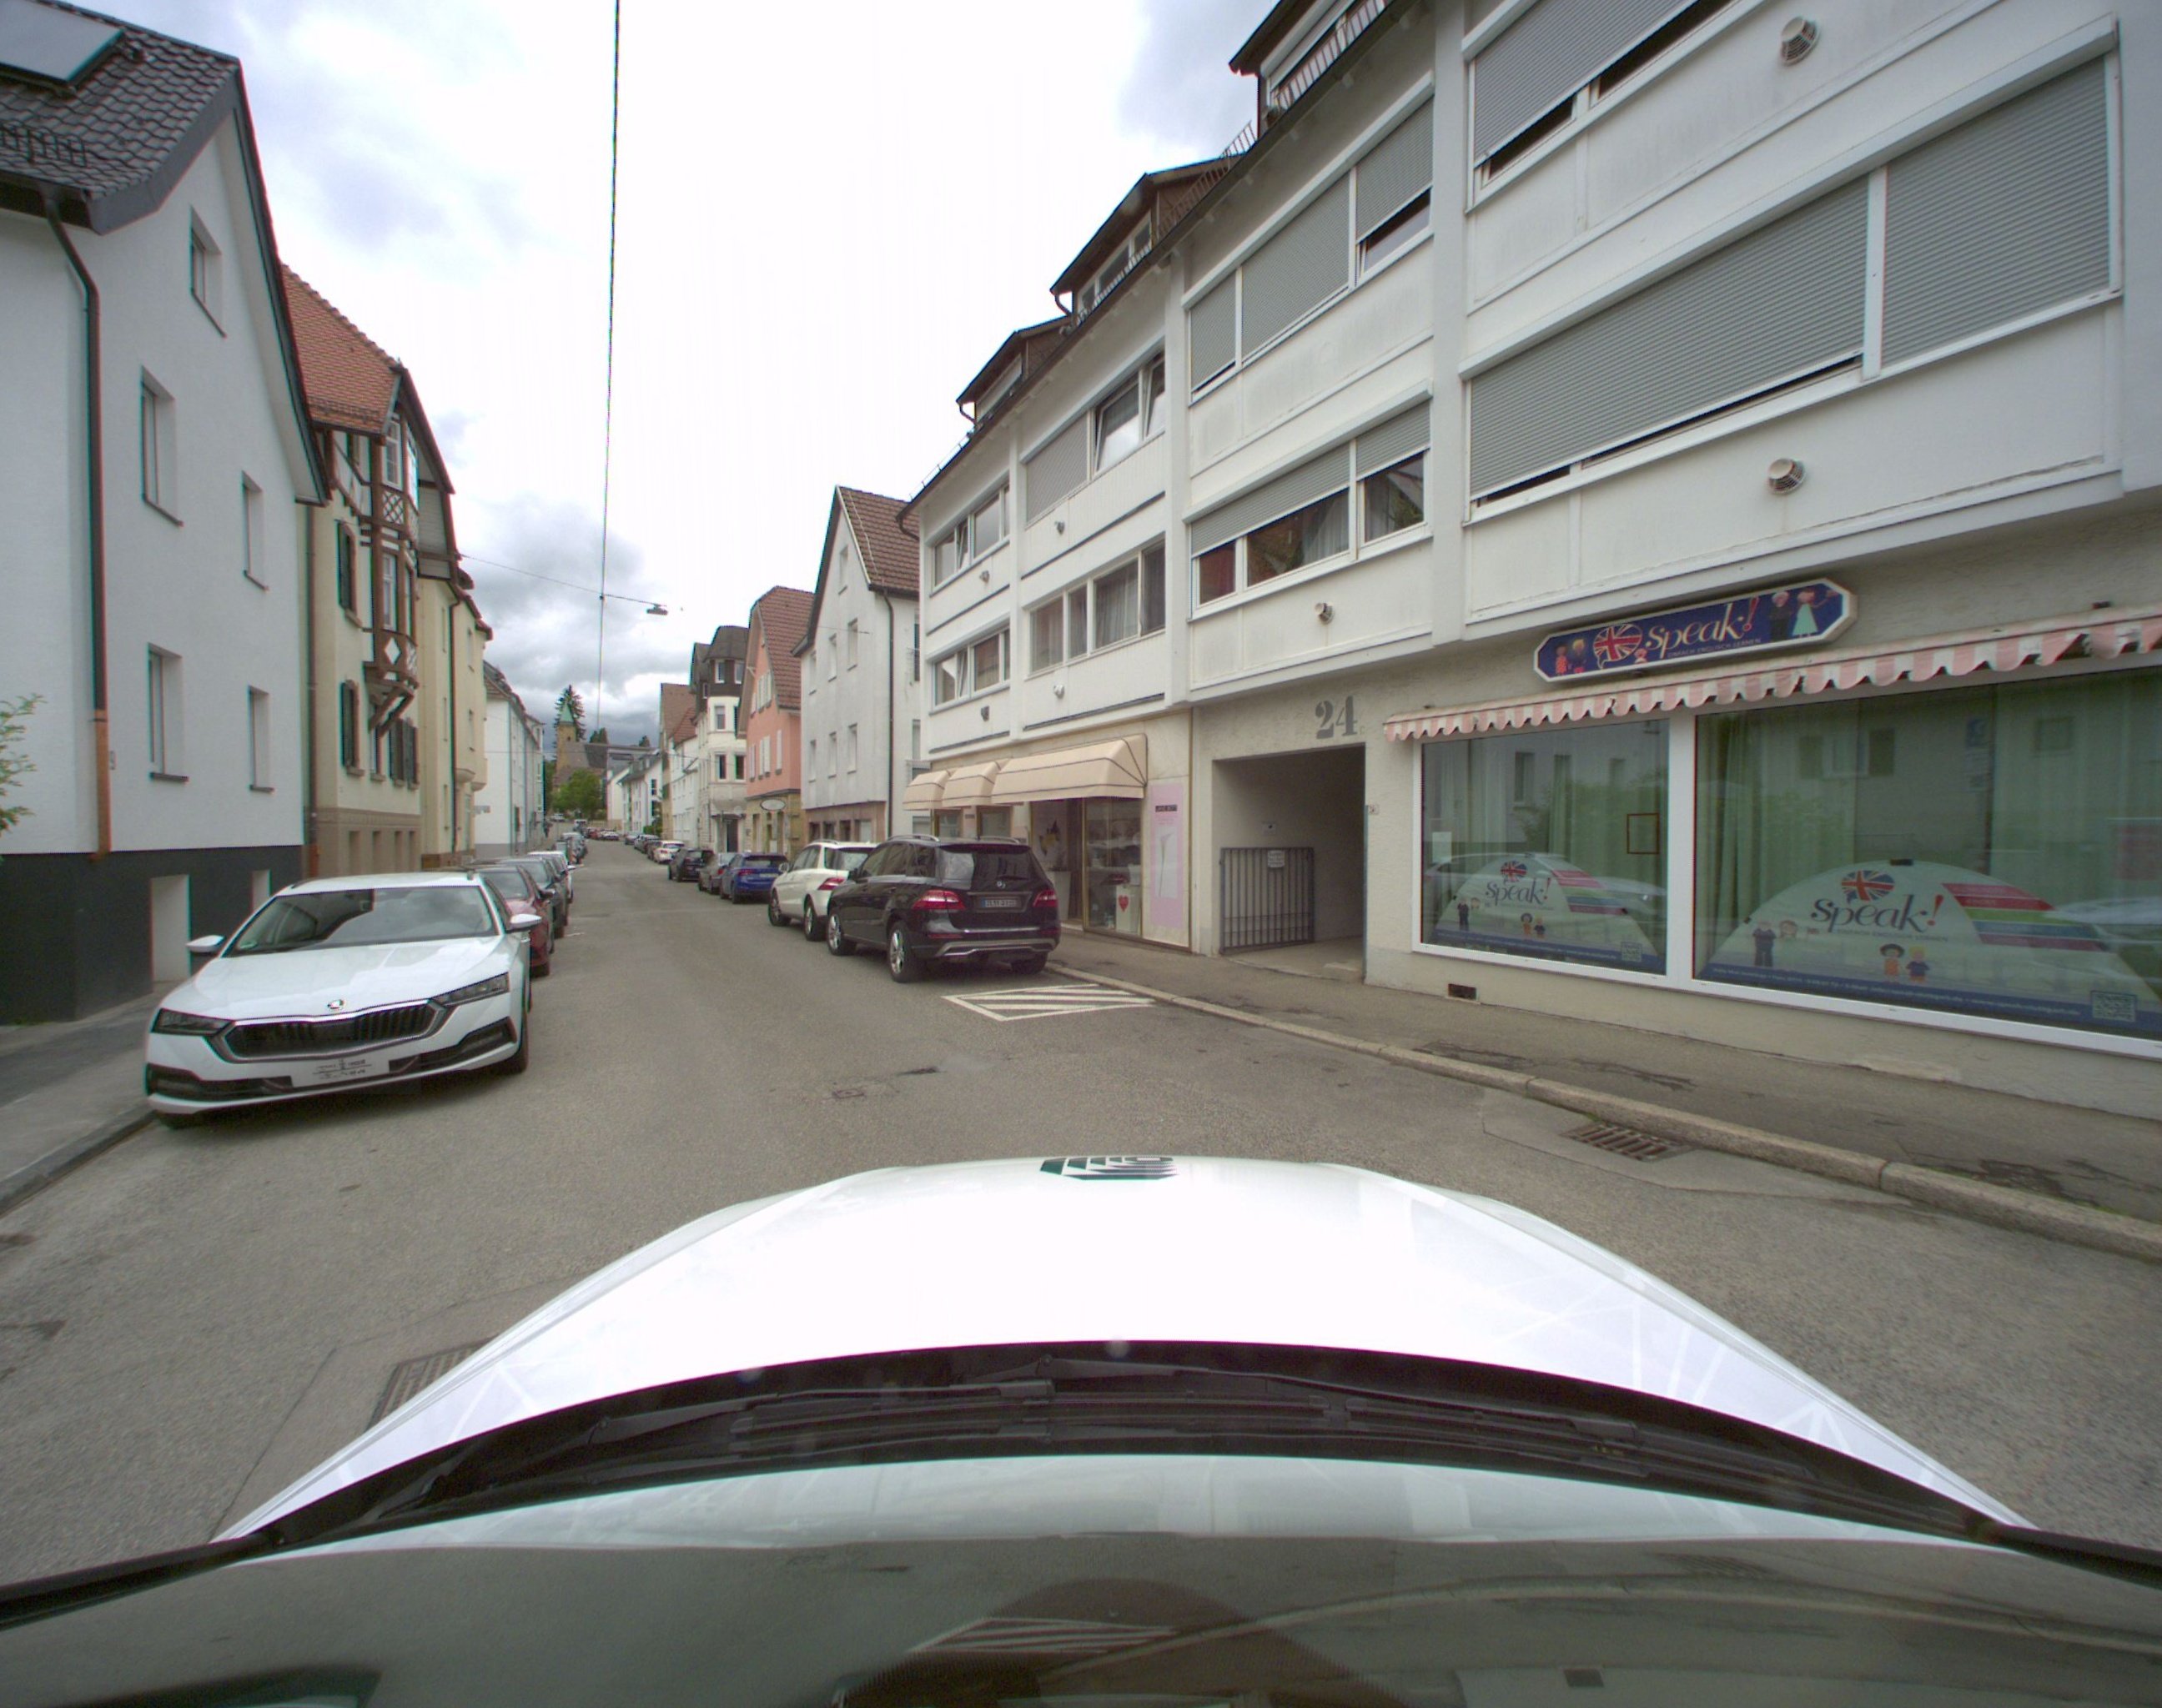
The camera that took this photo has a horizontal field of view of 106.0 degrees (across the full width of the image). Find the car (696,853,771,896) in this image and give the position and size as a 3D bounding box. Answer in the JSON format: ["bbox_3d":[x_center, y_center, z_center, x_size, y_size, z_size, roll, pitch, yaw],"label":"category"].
[{"bbox_3d":[-12.166,0.650,28.380,1.761,1.391,3.990,0,0,-33],"label":"car"}]

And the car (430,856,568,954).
[{"bbox_3d":[-10.966,0.854,15.602,1.780,1.495,3.942,-4,2,-31],"label":"car"}]

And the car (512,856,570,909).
[{"bbox_3d":[-16.034,0.790,24.293,1.292,1.358,3.766,-2,2,-32],"label":"car"}]

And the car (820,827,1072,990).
[{"bbox_3d":[-2.071,0.615,11.262,1.954,1.780,4.325,1,-1,-32],"label":"car"}]

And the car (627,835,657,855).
[{"bbox_3d":[-36.268,-0.779,67.185,1.741,1.574,3.793,0,2,-35],"label":"car"}]

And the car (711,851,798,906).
[{"bbox_3d":[-9.704,0.646,24.026,1.786,1.475,3.744,-1,0,-32],"label":"car"}]

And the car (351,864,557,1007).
[{"bbox_3d":[-8.323,0.926,11.185,1.781,1.417,4.129,-3,2,-32],"label":"car"}]

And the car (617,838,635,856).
[{"bbox_3d":[-48.858,-0.740,87.346,1.589,1.759,3.178,0,-1,-31],"label":"car"}]

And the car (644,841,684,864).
[{"bbox_3d":[-30.289,-0.122,59.120,1.969,1.574,3.956,0,1,-36],"label":"car"}]

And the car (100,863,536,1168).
[{"bbox_3d":[-5.497,0.868,6.523,1.806,1.460,4.251,-3,2,-34],"label":"car"}]

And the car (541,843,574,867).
[{"bbox_3d":[-33.286,0.046,51.826,1.685,1.464,3.960,1,1,-32],"label":"car"}]

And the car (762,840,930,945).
[{"bbox_3d":[-4.643,0.590,15.642,1.947,1.712,4.332,-1,1,-33],"label":"car"}]

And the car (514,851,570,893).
[{"bbox_3d":[-20.128,0.646,30.515,1.597,1.422,3.367,-2,1,-32],"label":"car"}]

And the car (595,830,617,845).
[{"bbox_3d":[-59.913,-2.084,102.690,1.774,1.666,3.954,2,1,-40],"label":"car"}]

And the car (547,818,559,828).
[{"bbox_3d":[-106.995,-6.294,165.006,1.835,1.923,3.709,2,1,-37],"label":"car"}]

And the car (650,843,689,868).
[{"bbox_3d":[-27.778,0.048,54.891,1.780,1.525,3.860,0,2,-36],"label":"car"}]

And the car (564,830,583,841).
[{"bbox_3d":[-77.375,-2.841,124.068,1.905,1.604,3.671,2,0,-41],"label":"car"}]

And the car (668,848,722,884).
[{"bbox_3d":[-17.821,0.523,37.528,1.724,1.549,3.763,1,0,-33],"label":"car"}]

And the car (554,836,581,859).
[{"bbox_3d":[-37.519,-0.490,59.516,1.550,1.515,3.344,2,0,-33],"label":"car"}]
